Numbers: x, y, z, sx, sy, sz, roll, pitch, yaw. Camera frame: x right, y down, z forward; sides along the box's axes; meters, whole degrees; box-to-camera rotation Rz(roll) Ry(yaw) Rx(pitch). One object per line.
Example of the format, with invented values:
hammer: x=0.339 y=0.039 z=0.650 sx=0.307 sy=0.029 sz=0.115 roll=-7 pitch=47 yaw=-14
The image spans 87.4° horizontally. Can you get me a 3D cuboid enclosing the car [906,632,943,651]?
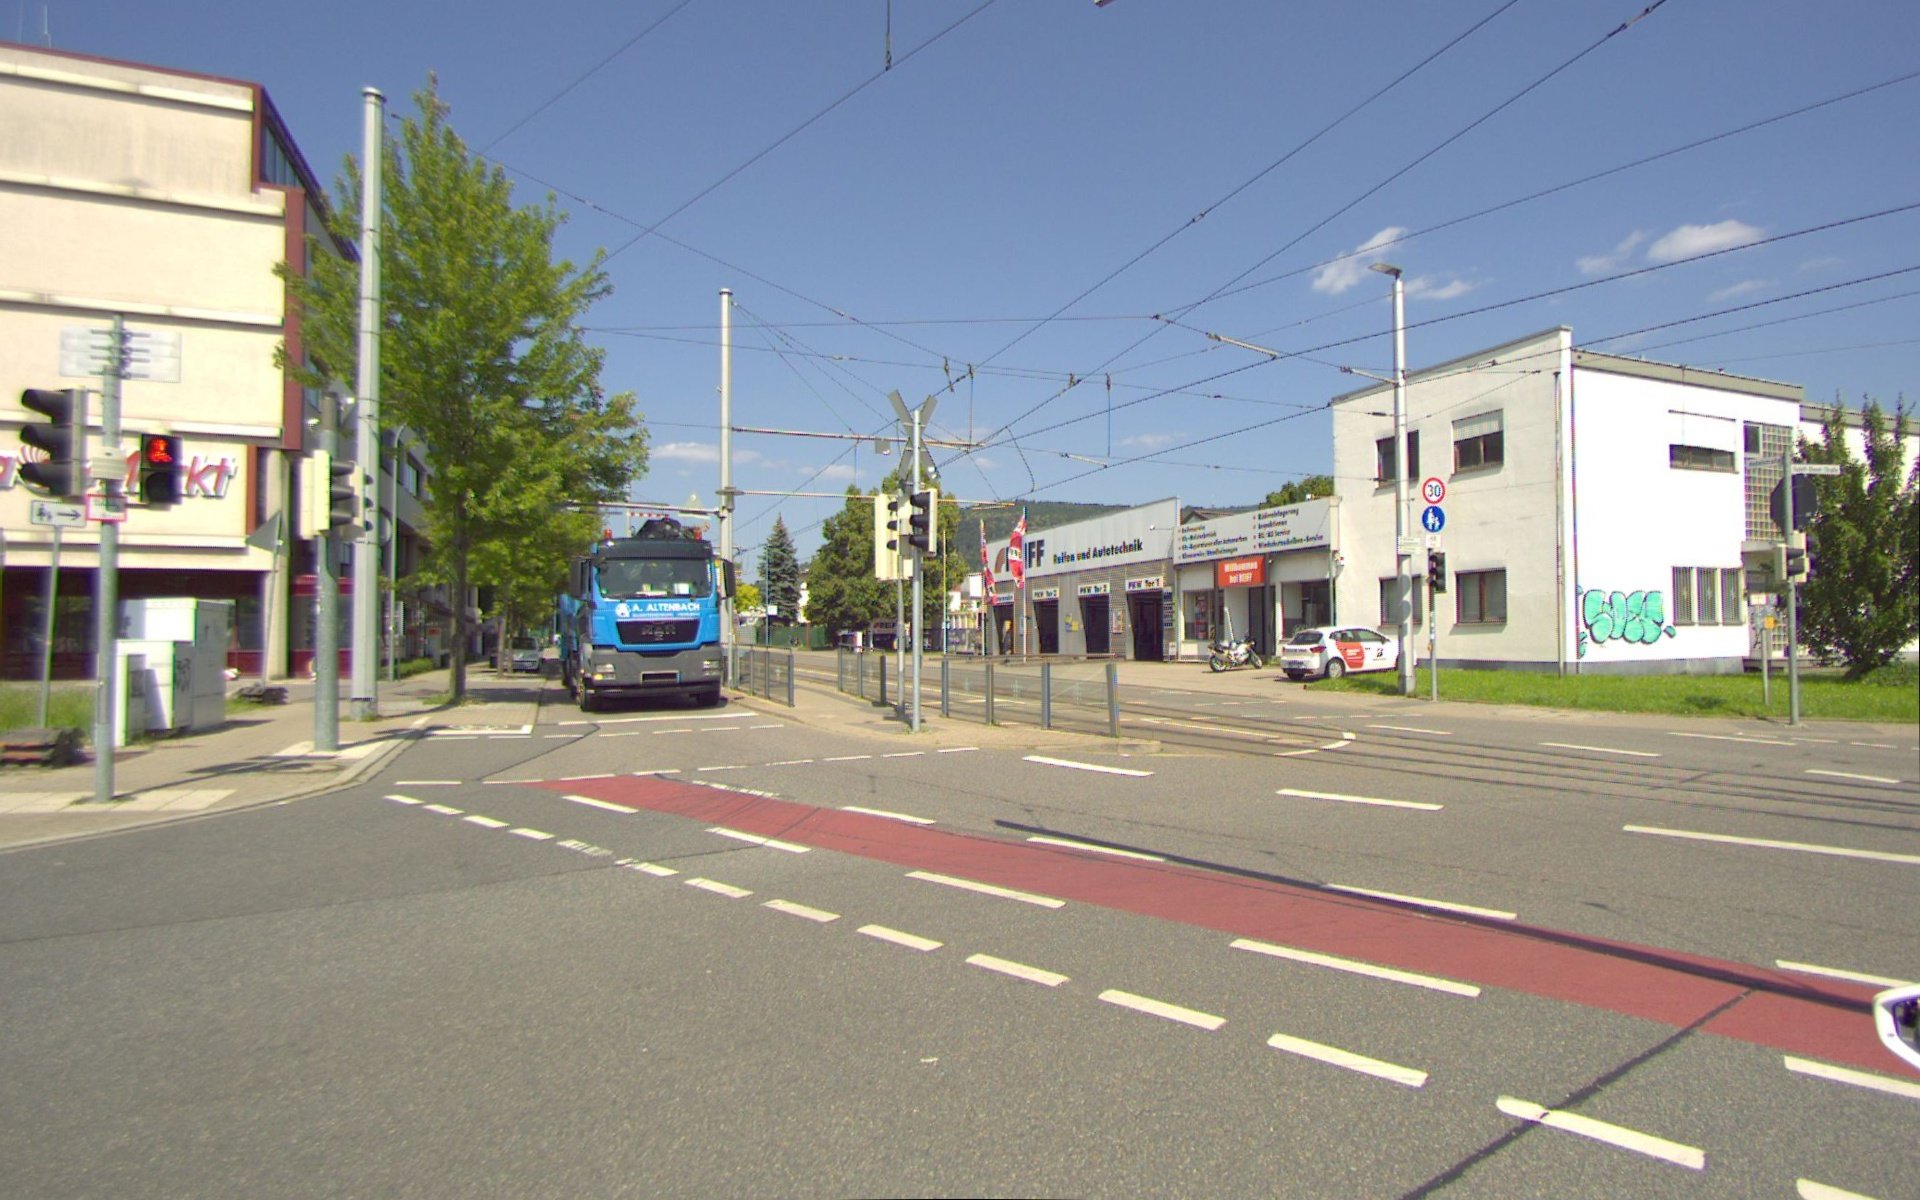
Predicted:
car: x=-2.878 y=3.268 z=80.251 sx=1.723 sy=1.479 sz=3.980 roll=1 pitch=-2 yaw=-21

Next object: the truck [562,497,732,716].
truck: x=-6.261 y=0.191 z=19.628 sx=2.713 sy=3.656 sz=5.013 roll=0 pitch=-2 yaw=-23

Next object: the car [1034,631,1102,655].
car: x=6.378 y=2.514 z=59.271 sx=3.725 sy=1.394 sz=1.713 roll=1 pitch=-2 yaw=-27

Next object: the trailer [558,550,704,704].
trailer: x=-7.849 y=0.632 z=23.387 sx=2.713 sy=3.017 sz=6.861 roll=0 pitch=-2 yaw=-23

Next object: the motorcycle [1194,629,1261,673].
motorcycle: x=9.029 y=1.702 z=33.890 sx=2.159 sy=1.326 sz=0.727 roll=-3 pitch=-1 yaw=-24

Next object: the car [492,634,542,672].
car: x=-18.833 y=2.224 z=42.792 sx=1.703 sy=1.482 sz=3.885 roll=2 pitch=-2 yaw=-21

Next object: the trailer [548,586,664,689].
trailer: x=-10.746 y=1.085 z=30.019 sx=2.766 sy=2.663 sz=7.558 roll=0 pitch=-2 yaw=-24

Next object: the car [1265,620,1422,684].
car: x=10.879 y=1.432 z=28.513 sx=3.944 sy=1.482 sz=1.879 roll=-3 pitch=-1 yaw=-24
